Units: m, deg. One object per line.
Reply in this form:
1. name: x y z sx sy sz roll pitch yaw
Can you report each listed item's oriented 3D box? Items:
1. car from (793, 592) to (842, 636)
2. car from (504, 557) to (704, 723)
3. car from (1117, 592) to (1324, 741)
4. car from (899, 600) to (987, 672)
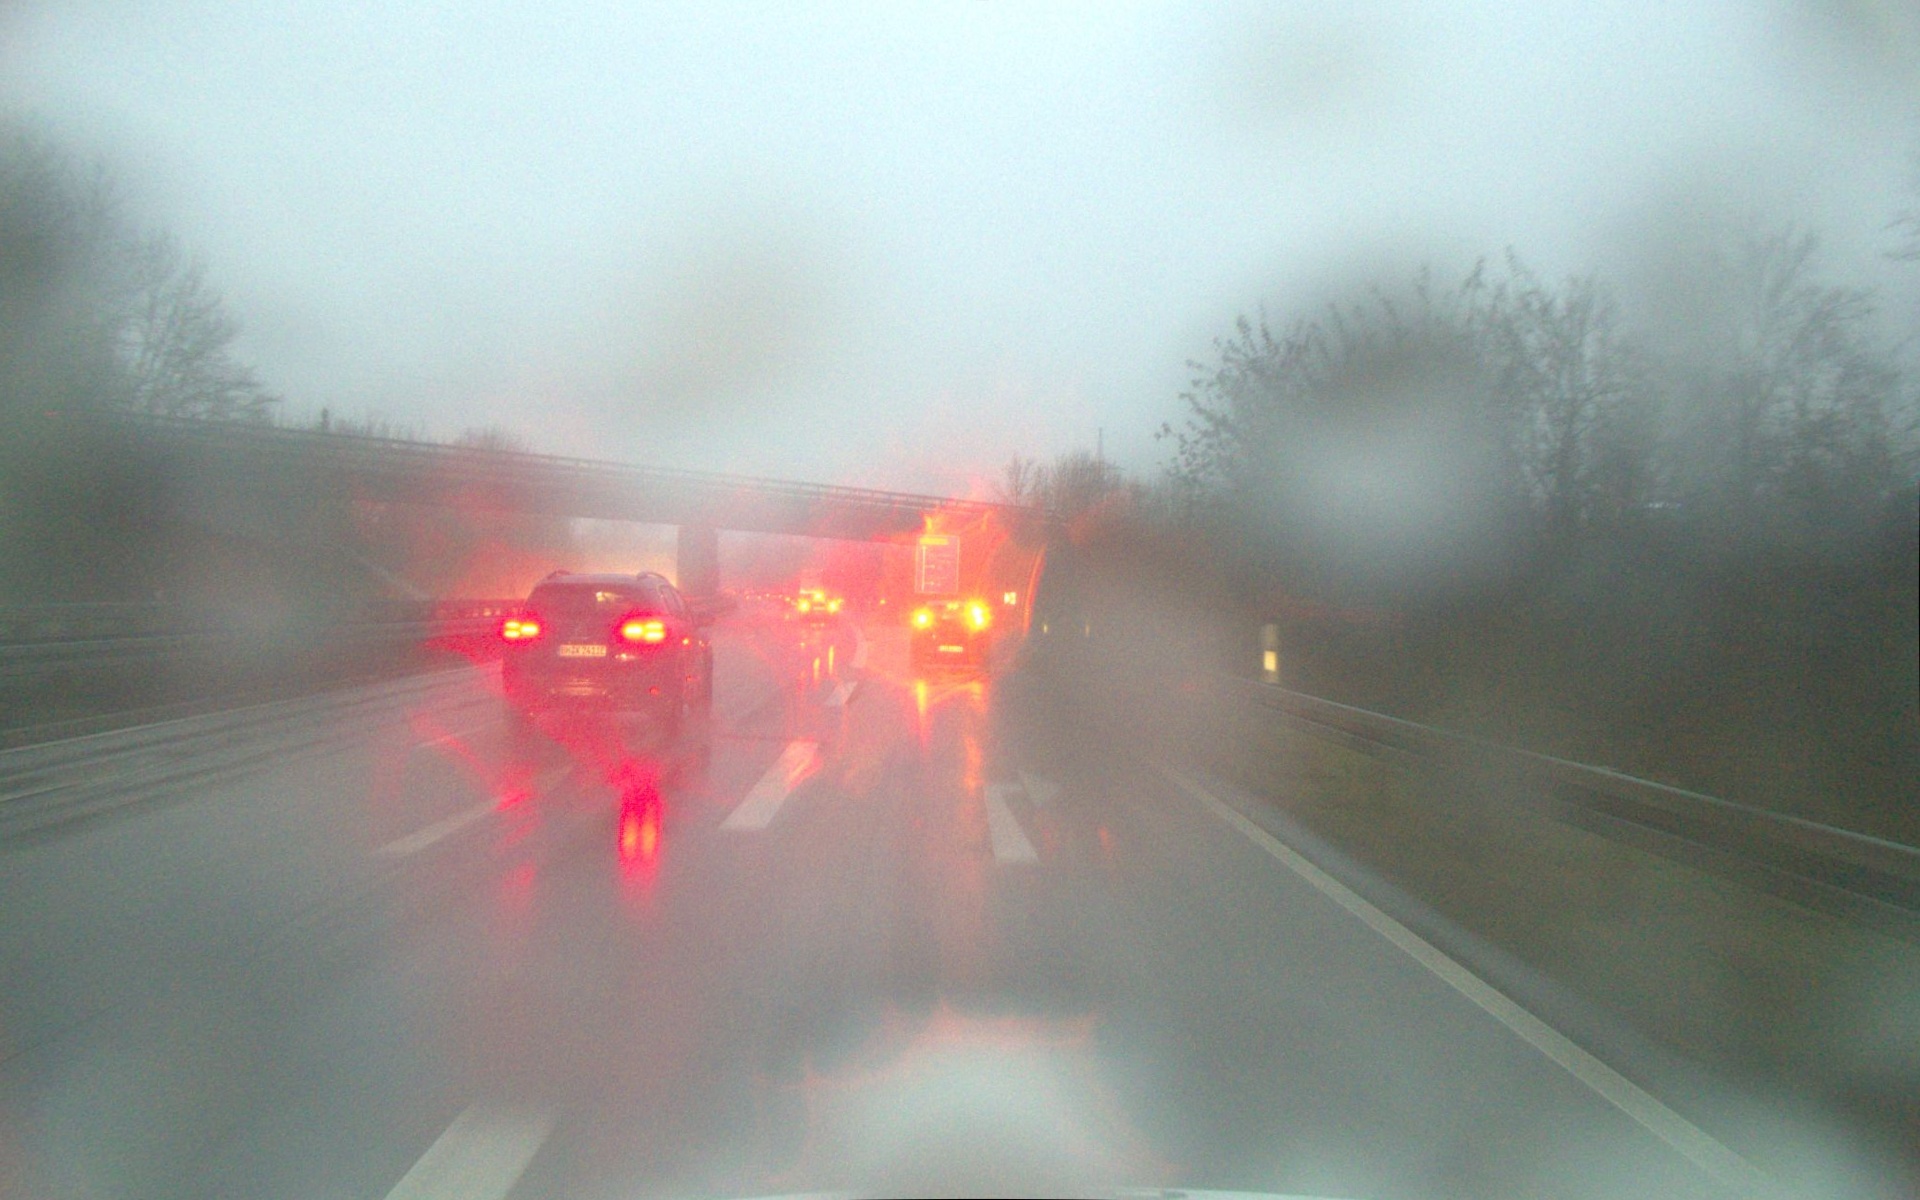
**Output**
1. car: -6.150 0.581 71.919 1.840 1.645 3.874 2 2 -2
2. car: -3.956 0.401 18.968 1.956 1.694 3.992 0 0 -8
3. car: 2.711 0.668 18.002 1.648 1.443 3.874 0 -1 0
4. car: -0.318 0.731 35.365 1.696 1.454 3.766 0 0 2
